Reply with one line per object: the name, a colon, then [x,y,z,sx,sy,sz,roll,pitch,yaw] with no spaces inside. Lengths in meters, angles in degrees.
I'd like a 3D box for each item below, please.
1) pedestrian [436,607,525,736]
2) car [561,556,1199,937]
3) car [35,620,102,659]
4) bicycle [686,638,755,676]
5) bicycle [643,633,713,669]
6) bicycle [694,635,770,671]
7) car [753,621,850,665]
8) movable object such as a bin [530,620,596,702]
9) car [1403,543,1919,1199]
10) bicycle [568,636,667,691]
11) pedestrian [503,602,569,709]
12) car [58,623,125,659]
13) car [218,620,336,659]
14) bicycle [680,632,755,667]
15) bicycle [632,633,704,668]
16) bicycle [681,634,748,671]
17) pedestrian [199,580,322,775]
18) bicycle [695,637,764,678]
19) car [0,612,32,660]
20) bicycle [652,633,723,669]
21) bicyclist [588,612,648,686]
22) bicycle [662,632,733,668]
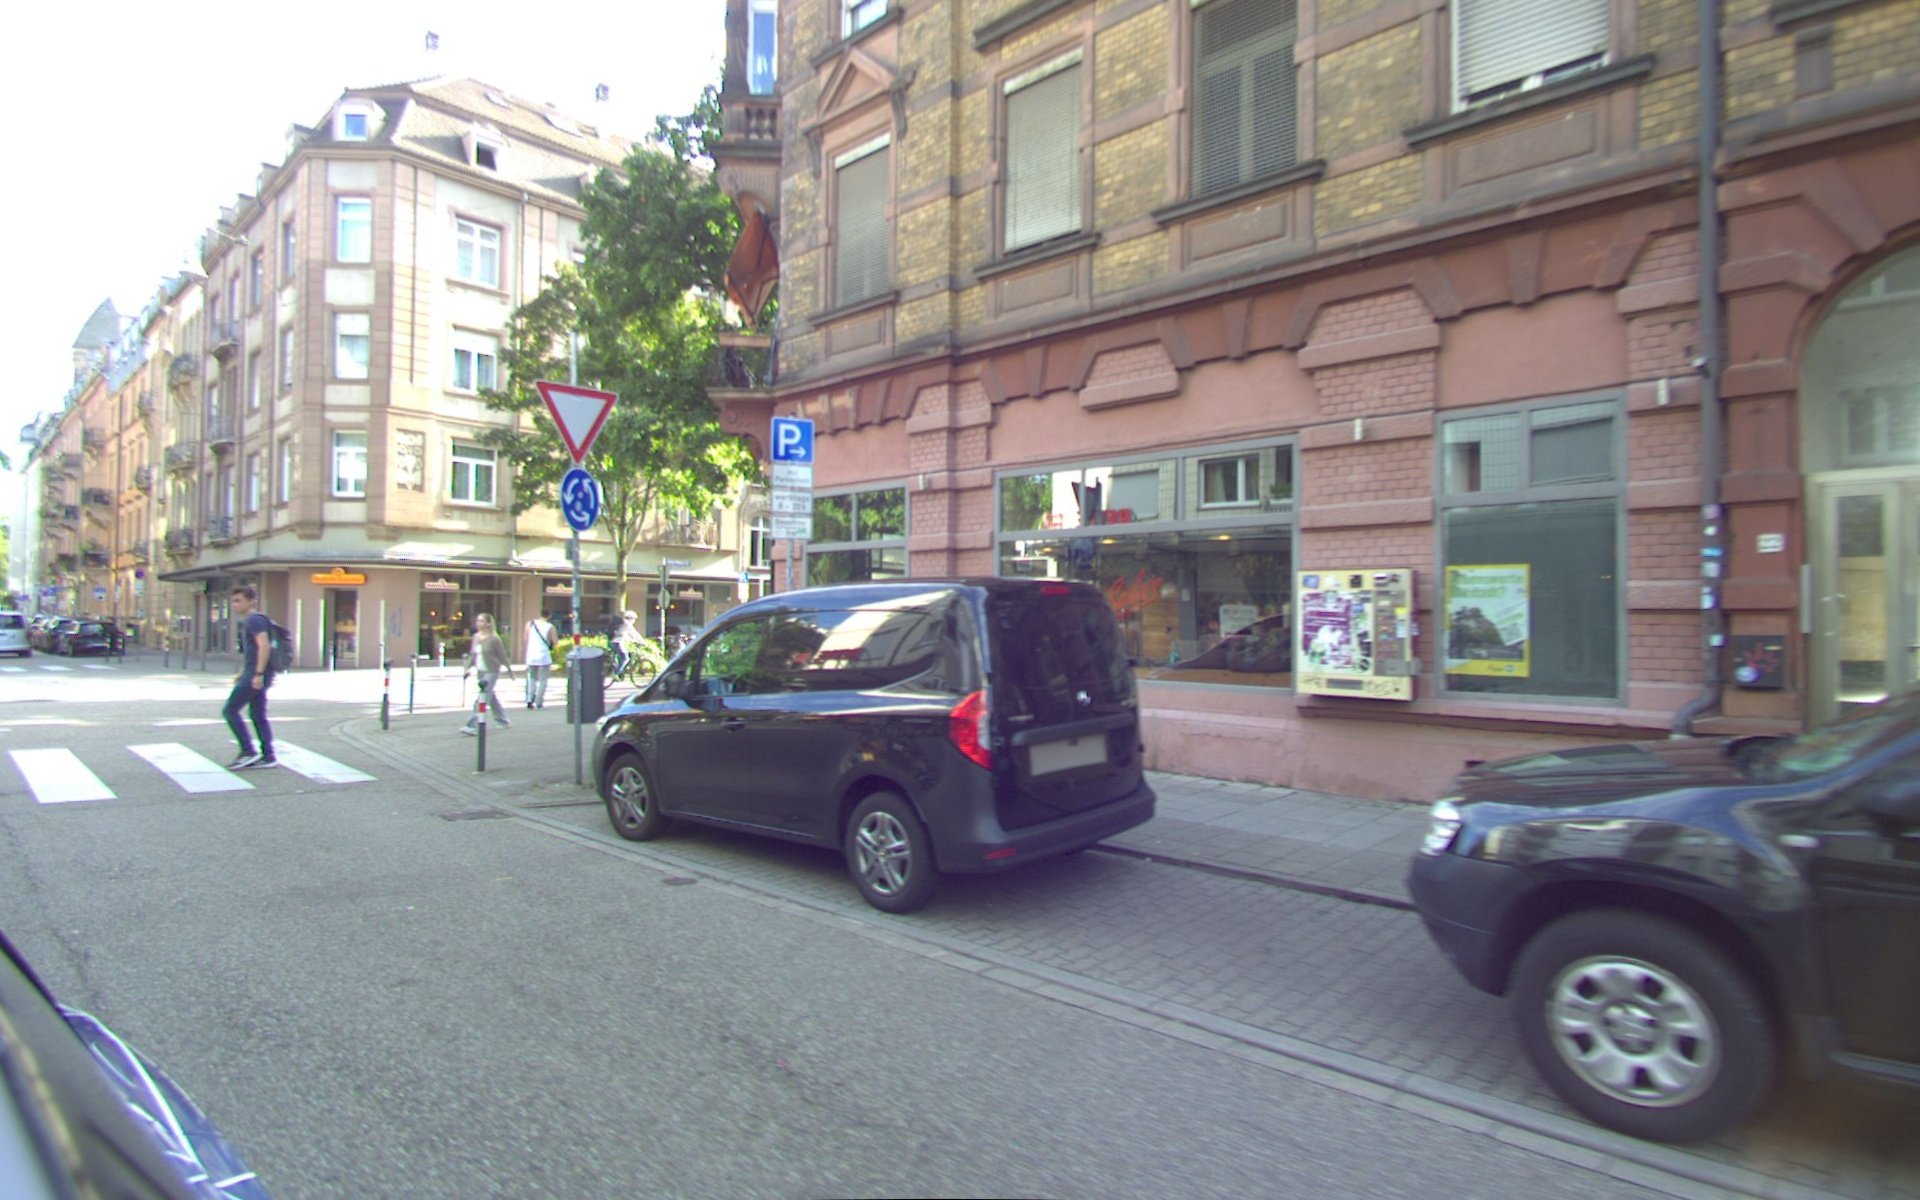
pedestrian: [-6.209,0.907,13.134,0.609,1.590,0.806,-3,0,14]
car: [-0.799,0.721,6.874,4.404,1.787,1.741,-1,-1,42]
car: [-39.094,1.684,44.331,4.399,1.596,1.836,-1,-1,44]
bicycle: [-7.576,1.787,32.135,0.478,1.166,2.260,-1,-3,40]
bicycle: [-9.406,1.702,33.850,0.478,1.143,2.399,-1,-3,40]
bicycle: [-7.482,1.735,33.275,0.651,1.110,2.477,-3,-3,44]
car: [-5.734,1.522,36.413,3.700,1.488,1.554,-2,-2,44]
movable object such as a bin: [-3.629,0.550,9.260,0.475,0.719,0.379,-2,-2,39]
car: [3.672,0.681,2.721,4.144,1.650,1.972,-1,-2,42]
bicycle: [-8.045,1.479,23.844,0.703,1.229,2.086,0,-2,43]
pedestrian: [-6.940,0.888,16.606,0.791,1.683,1.025,2,-2,-14]
car: [-35.270,1.655,41.071,3.830,1.379,1.700,-2,-2,44]
car: [-30.487,1.750,45.275,1.995,1.633,3.953,-1,-1,34]
bicycle: [-8.070,1.641,33.832,0.708,1.110,2.477,-3,-3,43]
bicycle: [-9.841,1.701,34.226,0.579,1.143,2.399,-1,-3,40]
bicycle: [-7.886,1.684,32.597,0.478,1.143,2.233,-1,-3,40]
pedestrian: [-7.018,0.755,10.164,0.679,1.855,0.845,-2,-4,44]
bicycle: [-7.201,1.783,31.783,0.478,1.234,2.262,-1,-3,40]
car: [-38.480,1.485,40.352,4.330,1.804,1.809,-3,-1,43]
bicycle: [-9.001,1.680,33.497,0.478,1.143,2.399,-1,-3,40]
bicyclist: [-8.051,1.141,23.830,0.703,1.690,1.096,0,-2,43]
bicycle: [-8.587,1.635,33.166,0.478,1.143,2.399,-1,-3,40]
